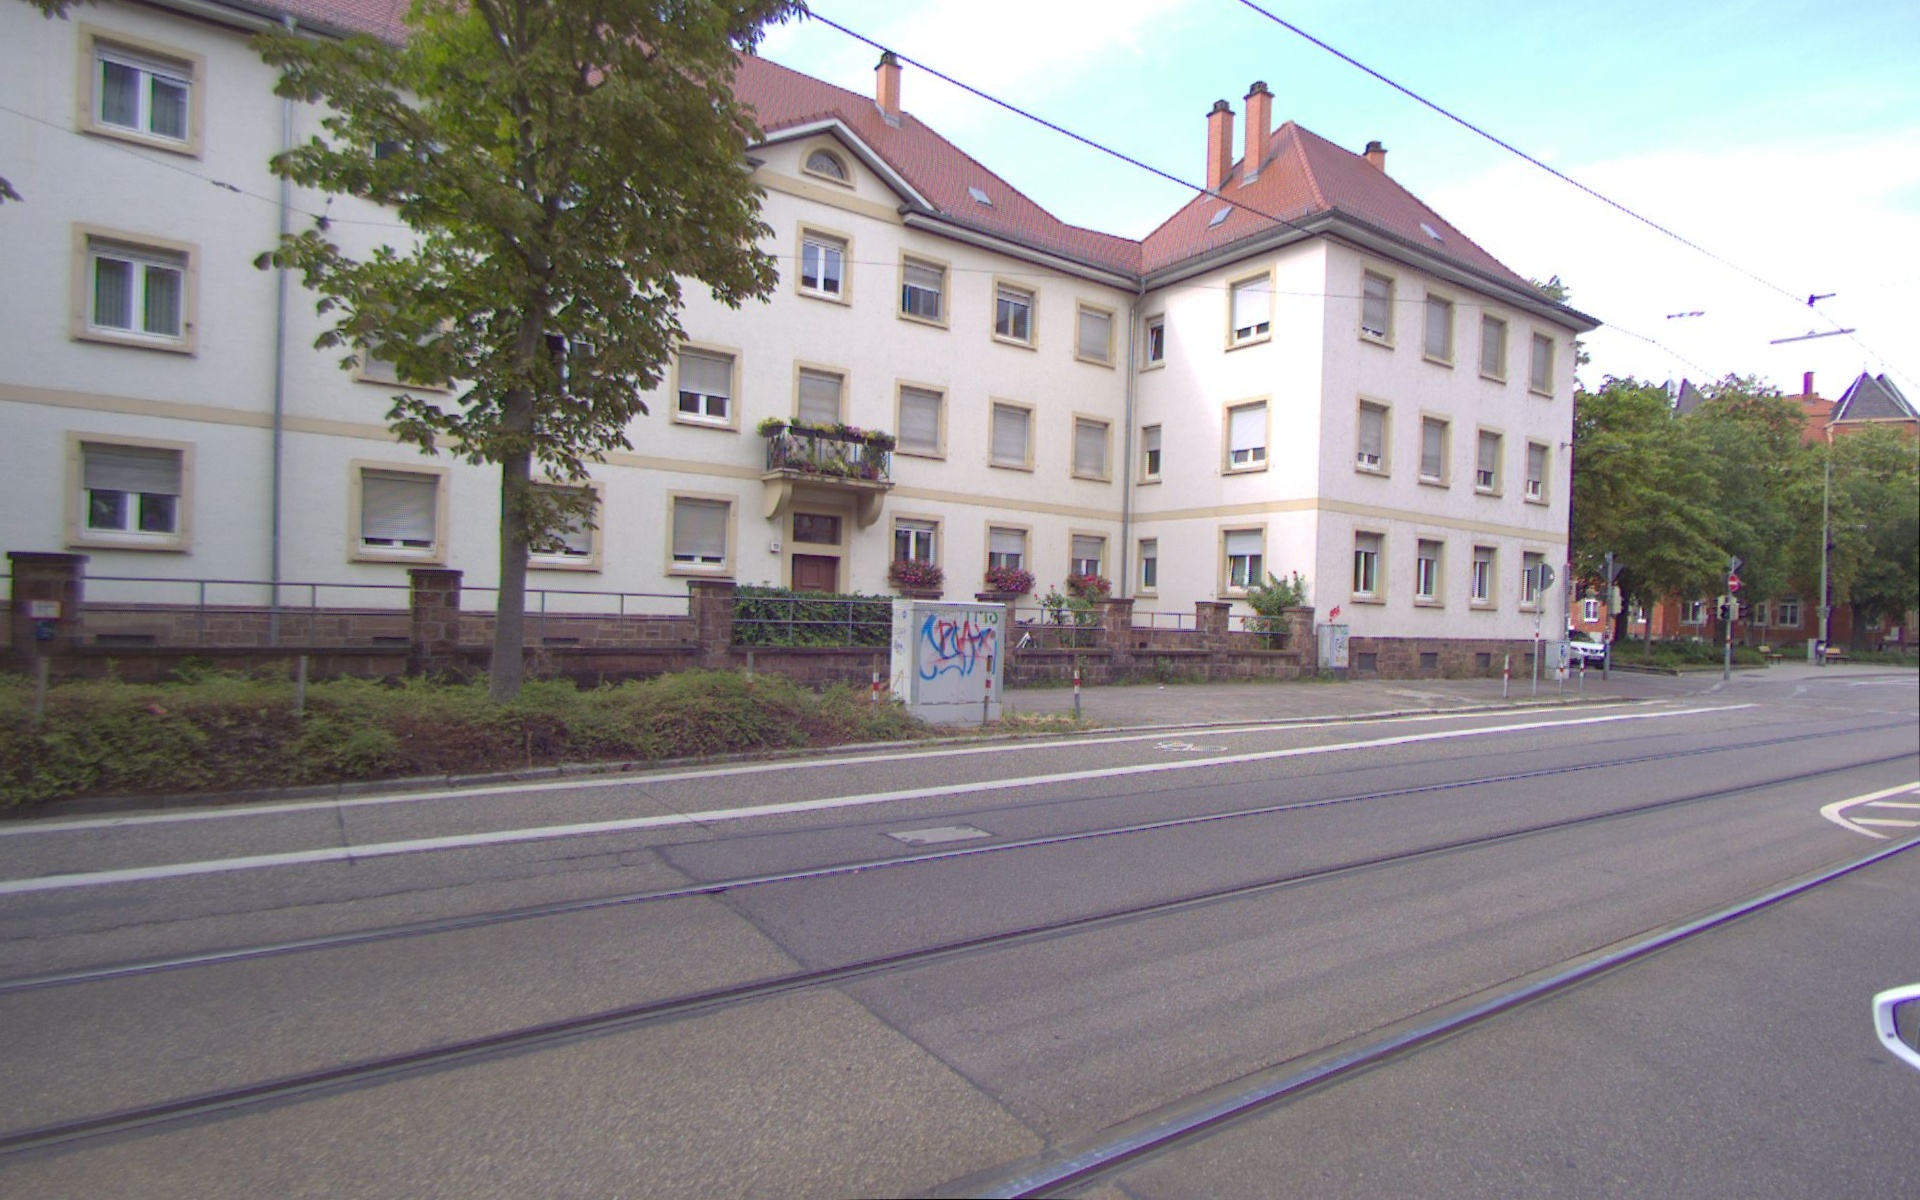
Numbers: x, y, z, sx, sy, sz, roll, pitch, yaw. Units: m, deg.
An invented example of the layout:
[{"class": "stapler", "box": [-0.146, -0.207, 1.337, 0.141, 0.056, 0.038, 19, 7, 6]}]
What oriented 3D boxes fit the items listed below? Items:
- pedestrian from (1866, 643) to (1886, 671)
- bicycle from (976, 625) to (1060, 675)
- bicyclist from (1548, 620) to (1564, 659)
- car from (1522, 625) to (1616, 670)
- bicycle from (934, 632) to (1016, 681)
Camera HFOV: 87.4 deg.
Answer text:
[{"class": "pedestrian", "box": [60.062, 3.727, 65.849, 0.727, 1.725, 0.826, 2, 0, -39]}, {"class": "bicycle", "box": [1.132, 0.959, 19.313, 1.655, 0.927, 0.474, 2, -1, -35]}, {"class": "bicyclist", "box": [28.492, 1.880, 48.025, 0.601, 1.799, 0.910, 1, -1, 28]}, {"class": "car", "box": [26.158, 2.068, 43.300, 1.804, 1.743, 4.163, 3, -3, 6]}, {"class": "bicycle", "box": [0.309, 1.116, 19.915, 1.655, 0.927, 0.474, 2, -1, -35]}]
